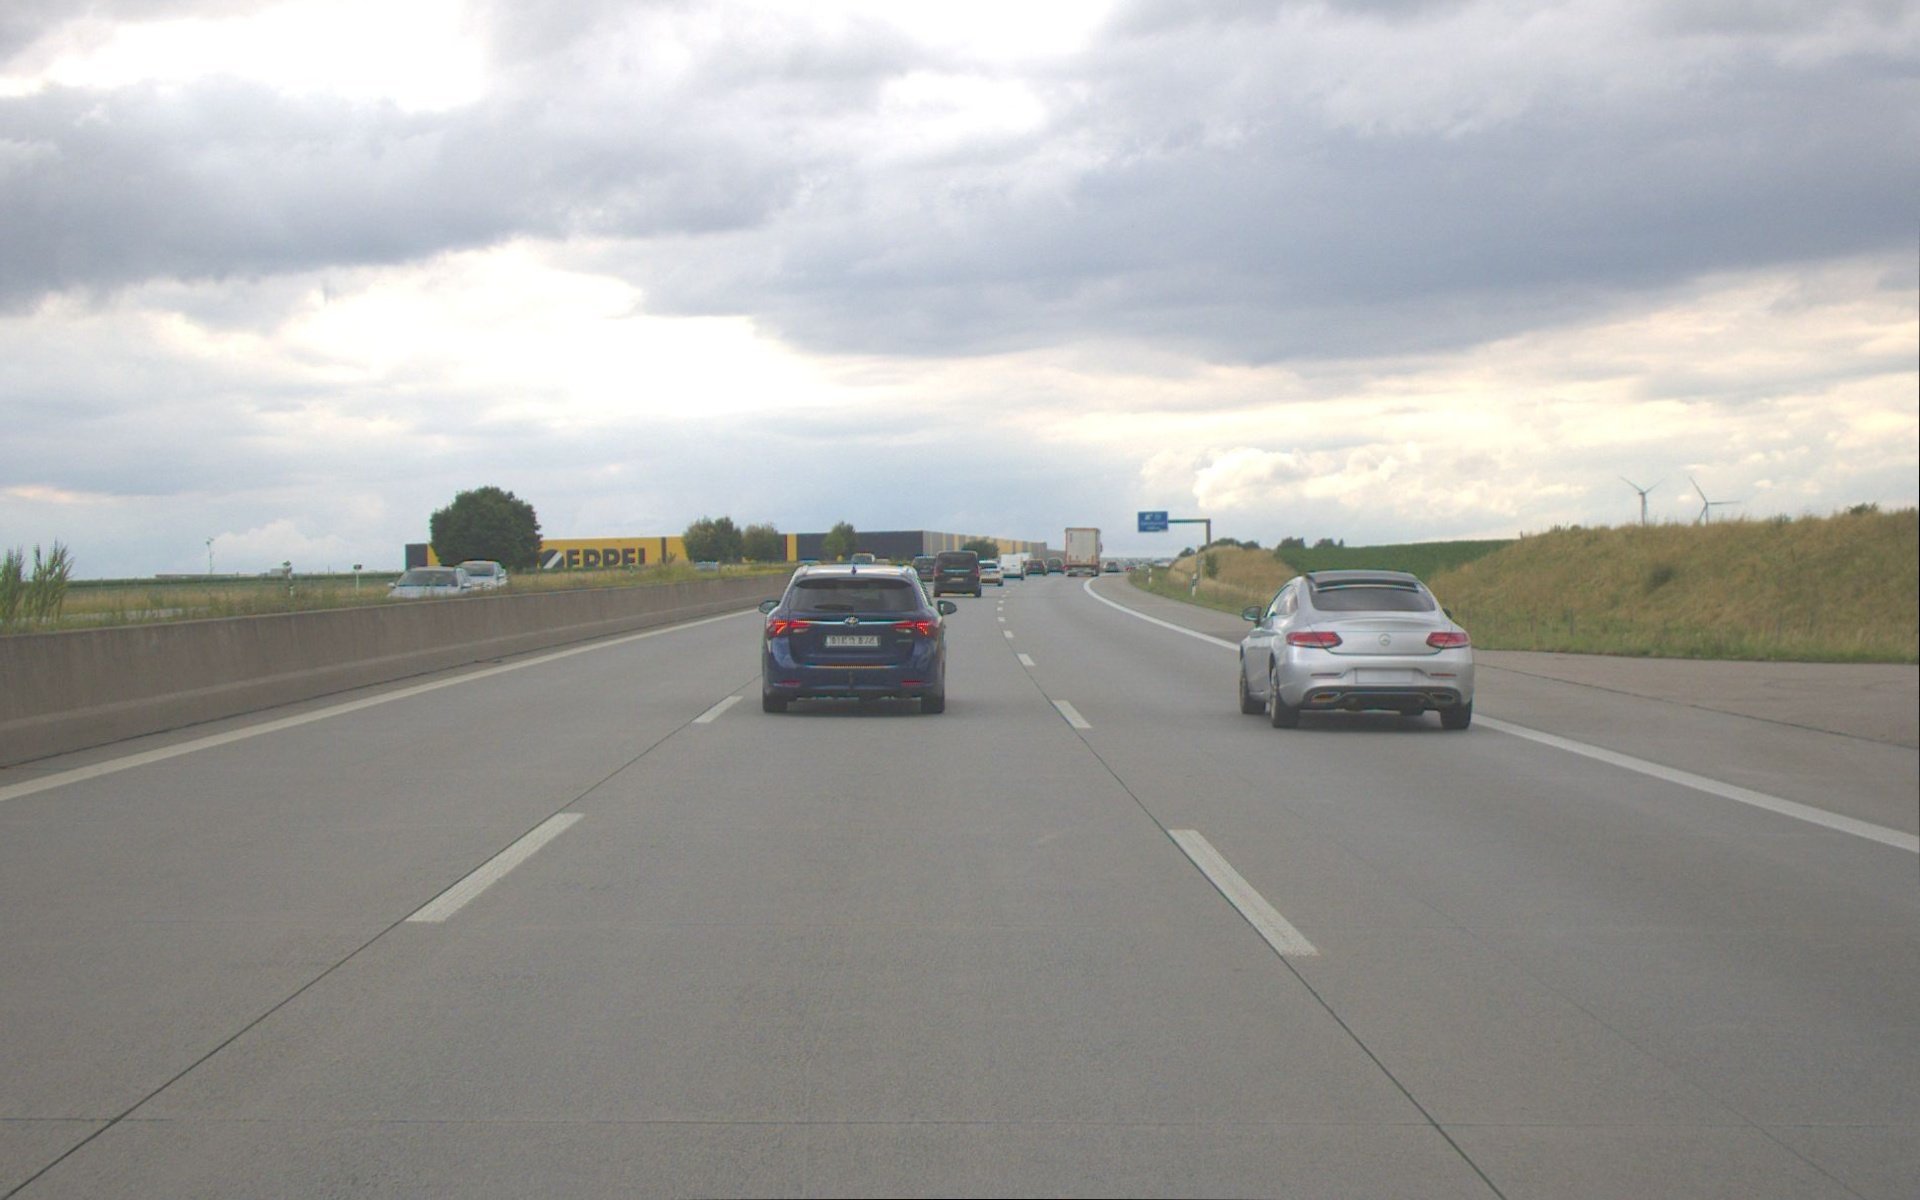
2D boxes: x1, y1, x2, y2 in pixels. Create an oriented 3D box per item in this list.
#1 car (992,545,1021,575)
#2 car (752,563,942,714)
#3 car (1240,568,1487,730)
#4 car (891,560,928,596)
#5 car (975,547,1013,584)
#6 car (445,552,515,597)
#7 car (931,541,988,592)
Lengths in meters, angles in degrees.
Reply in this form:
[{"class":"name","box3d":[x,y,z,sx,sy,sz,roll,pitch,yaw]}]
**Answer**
[{"class":"car","box3d":[3.276,-2.817,242.267,1.993,2.007,4.000,1,0,0]},{"class":"car","box3d":[-1.119,0.348,34.305,1.774,1.408,4.000,0,0,-2]},{"class":"car","box3d":[3.662,0.410,31.880,1.788,1.399,4.221,0,0,0]},{"class":"car","box3d":[-2.873,-1.265,197.432,2.046,2.007,4.000,1,0,0]},{"class":"car","box3d":[1.918,-1.920,193.080,1.993,2.007,4.000,1,1,2]},{"class":"car","box3d":[-16.589,-0.870,119.065,1.778,1.502,4.517,1,0,0]},{"class":"car","box3d":[-0.035,-1.330,138.049,1.993,2.007,4.000,1,0,-4]}]
